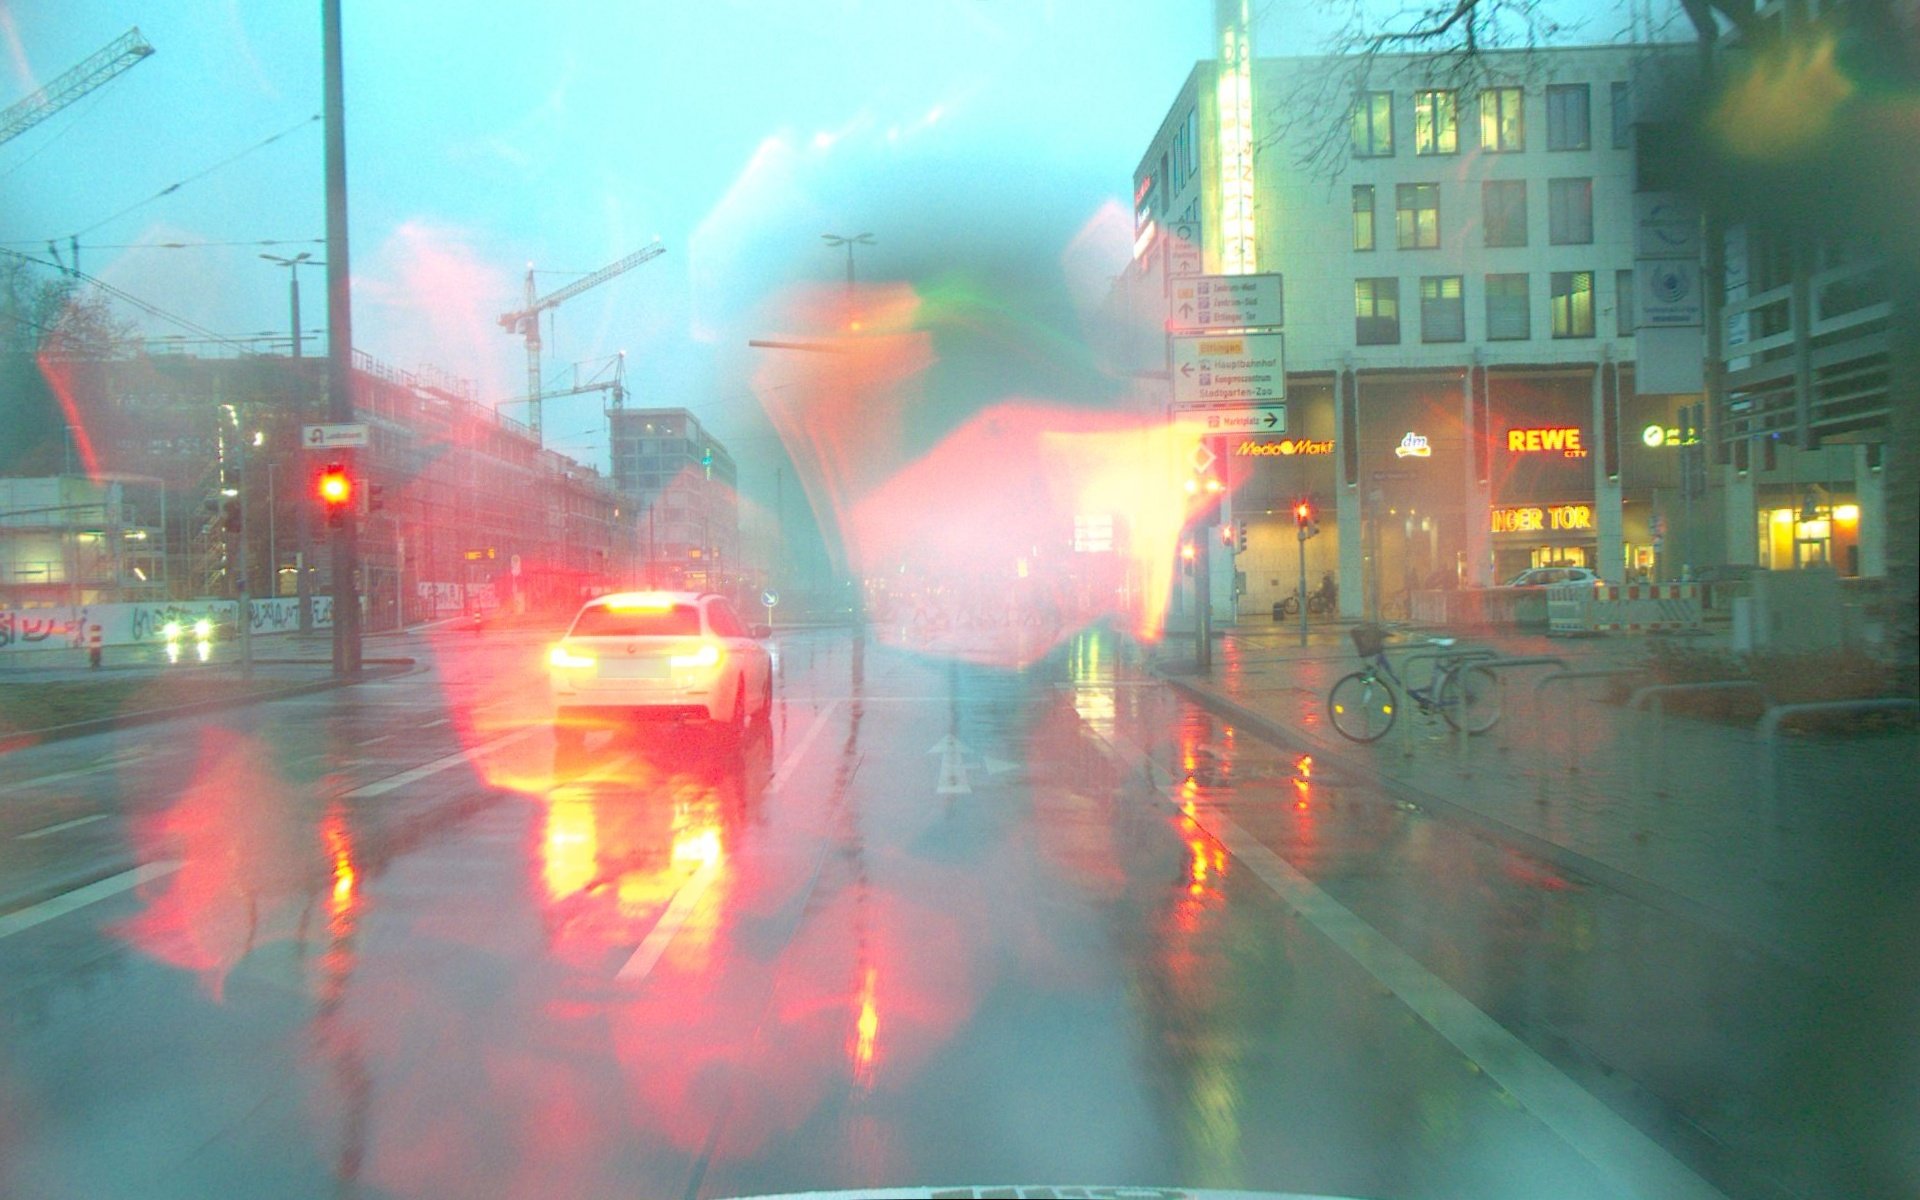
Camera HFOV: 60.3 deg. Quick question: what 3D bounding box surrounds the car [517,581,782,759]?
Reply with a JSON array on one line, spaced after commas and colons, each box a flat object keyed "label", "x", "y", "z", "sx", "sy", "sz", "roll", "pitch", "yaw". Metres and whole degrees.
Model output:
[{"label": "car", "x": -3.079, "y": 0.616, "z": 17.481, "sx": 1.871, "sy": 1.547, "sz": 4.923, "roll": -2, "pitch": 0, "yaw": -1}]

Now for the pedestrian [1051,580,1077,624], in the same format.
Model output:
[{"label": "pedestrian", "x": 4.170, "y": 0.067, "z": 66.402, "sx": 0.829, "sy": 1.717, "sz": 0.674, "roll": -2, "pitch": 0, "yaw": -16}]

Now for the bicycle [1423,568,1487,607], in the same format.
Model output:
[{"label": "bicycle", "x": 14.993, "y": -0.388, "z": 50.130, "sx": 1.806, "sy": 1.112, "sz": 0.618, "roll": -2, "pitch": 0, "yaw": 16}]

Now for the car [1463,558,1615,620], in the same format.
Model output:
[{"label": "car", "x": 18.425, "y": -0.361, "z": 52.772, "sx": 4.212, "sy": 1.792, "sz": 1.708, "roll": -2, "pitch": 0, "yaw": 4}]

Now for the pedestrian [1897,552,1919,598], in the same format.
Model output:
[{"label": "pedestrian", "x": 34.710, "y": -0.912, "z": 60.234, "sx": 0.778, "sy": 1.660, "sz": 0.709, "roll": 0, "pitch": 0, "yaw": 1}]

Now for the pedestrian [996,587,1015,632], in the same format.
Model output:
[{"label": "pedestrian", "x": 1.834, "y": 0.373, "z": 66.982, "sx": 0.688, "sy": 1.791, "sz": 0.667, "roll": -2, "pitch": 0, "yaw": 0}]

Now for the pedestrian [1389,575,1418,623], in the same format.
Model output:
[{"label": "pedestrian", "x": 15.178, "y": -0.027, "z": 56.632, "sx": 0.798, "sy": 1.597, "sz": 0.536, "roll": -2, "pitch": 0, "yaw": 1}]

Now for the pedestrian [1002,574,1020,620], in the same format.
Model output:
[{"label": "pedestrian", "x": 1.992, "y": -0.136, "z": 64.946, "sx": 0.607, "sy": 1.776, "sz": 0.612, "roll": -2, "pitch": 0, "yaw": -5}]

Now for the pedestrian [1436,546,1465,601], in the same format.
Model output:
[{"label": "pedestrian", "x": 14.865, "y": -0.811, "z": 50.142, "sx": 0.764, "sy": 1.623, "sz": 0.613, "roll": -2, "pitch": 0, "yaw": 16}]

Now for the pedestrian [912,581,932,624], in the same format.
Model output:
[{"label": "pedestrian", "x": -1.519, "y": 0.090, "z": 66.074, "sx": 0.726, "sy": 1.696, "sz": 0.400, "roll": -2, "pitch": 0, "yaw": 0}]

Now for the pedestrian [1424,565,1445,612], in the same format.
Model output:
[{"label": "pedestrian", "x": 17.369, "y": -0.419, "z": 60.491, "sx": 0.526, "sy": 1.714, "sz": 0.546, "roll": -2, "pitch": 0, "yaw": 38}]

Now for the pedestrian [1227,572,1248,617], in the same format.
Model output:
[{"label": "pedestrian", "x": 11.344, "y": -0.217, "z": 67.688, "sx": 0.688, "sy": 1.791, "sz": 0.652, "roll": -2, "pitch": 0, "yaw": 0}]

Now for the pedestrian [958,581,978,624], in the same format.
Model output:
[{"label": "pedestrian", "x": 0.325, "y": 0.098, "z": 64.728, "sx": 0.692, "sy": 1.647, "sz": 0.680, "roll": -2, "pitch": 0, "yaw": 2}]

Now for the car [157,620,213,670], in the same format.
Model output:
[{"label": "car", "x": -34.699, "y": 1.977, "z": 74.130, "sx": 1.728, "sy": 2.049, "sz": 3.980, "roll": -2, "pitch": 0, "yaw": -18}]

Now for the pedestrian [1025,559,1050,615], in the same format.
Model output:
[{"label": "pedestrian", "x": 2.948, "y": -0.501, "z": 62.978, "sx": 0.681, "sy": 2.124, "sz": 0.604, "roll": -2, "pitch": 0, "yaw": -39}]

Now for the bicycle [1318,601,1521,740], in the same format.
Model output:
[{"label": "bicycle", "x": 4.281, "y": 0.646, "z": 15.439, "sx": 1.716, "sy": 1.168, "sz": 0.435, "roll": -4, "pitch": 0, "yaw": -4}]

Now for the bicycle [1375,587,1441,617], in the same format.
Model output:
[{"label": "bicycle", "x": 15.337, "y": 0.063, "z": 56.633, "sx": 2.084, "sy": 1.009, "sz": 0.541, "roll": 0, "pitch": 0, "yaw": 0}]

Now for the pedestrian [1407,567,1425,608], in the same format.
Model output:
[{"label": "pedestrian", "x": 19.674, "y": -0.533, "z": 71.358, "sx": 0.526, "sy": 1.747, "sz": 0.500, "roll": -2, "pitch": 0, "yaw": 38}]

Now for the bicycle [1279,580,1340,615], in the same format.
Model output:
[{"label": "bicycle", "x": 14.500, "y": -0.106, "z": 68.635, "sx": 2.377, "sy": 1.352, "sz": 0.634, "roll": -2, "pitch": 1, "yaw": -3}]

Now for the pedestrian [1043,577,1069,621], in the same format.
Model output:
[{"label": "pedestrian", "x": 3.808, "y": -0.049, "z": 65.685, "sx": 0.817, "sy": 1.708, "sz": 0.617, "roll": -2, "pitch": 0, "yaw": -14}]

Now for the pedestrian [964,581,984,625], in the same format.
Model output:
[{"label": "pedestrian", "x": 0.537, "y": 0.113, "z": 63.250, "sx": 0.692, "sy": 1.647, "sz": 0.613, "roll": -2, "pitch": 0, "yaw": -2}]

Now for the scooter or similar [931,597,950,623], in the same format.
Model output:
[{"label": "scooter or similar", "x": -0.778, "y": 0.397, "z": 66.073, "sx": 0.726, "sy": 1.010, "sz": 0.400, "roll": -2, "pitch": 0, "yaw": 0}]
